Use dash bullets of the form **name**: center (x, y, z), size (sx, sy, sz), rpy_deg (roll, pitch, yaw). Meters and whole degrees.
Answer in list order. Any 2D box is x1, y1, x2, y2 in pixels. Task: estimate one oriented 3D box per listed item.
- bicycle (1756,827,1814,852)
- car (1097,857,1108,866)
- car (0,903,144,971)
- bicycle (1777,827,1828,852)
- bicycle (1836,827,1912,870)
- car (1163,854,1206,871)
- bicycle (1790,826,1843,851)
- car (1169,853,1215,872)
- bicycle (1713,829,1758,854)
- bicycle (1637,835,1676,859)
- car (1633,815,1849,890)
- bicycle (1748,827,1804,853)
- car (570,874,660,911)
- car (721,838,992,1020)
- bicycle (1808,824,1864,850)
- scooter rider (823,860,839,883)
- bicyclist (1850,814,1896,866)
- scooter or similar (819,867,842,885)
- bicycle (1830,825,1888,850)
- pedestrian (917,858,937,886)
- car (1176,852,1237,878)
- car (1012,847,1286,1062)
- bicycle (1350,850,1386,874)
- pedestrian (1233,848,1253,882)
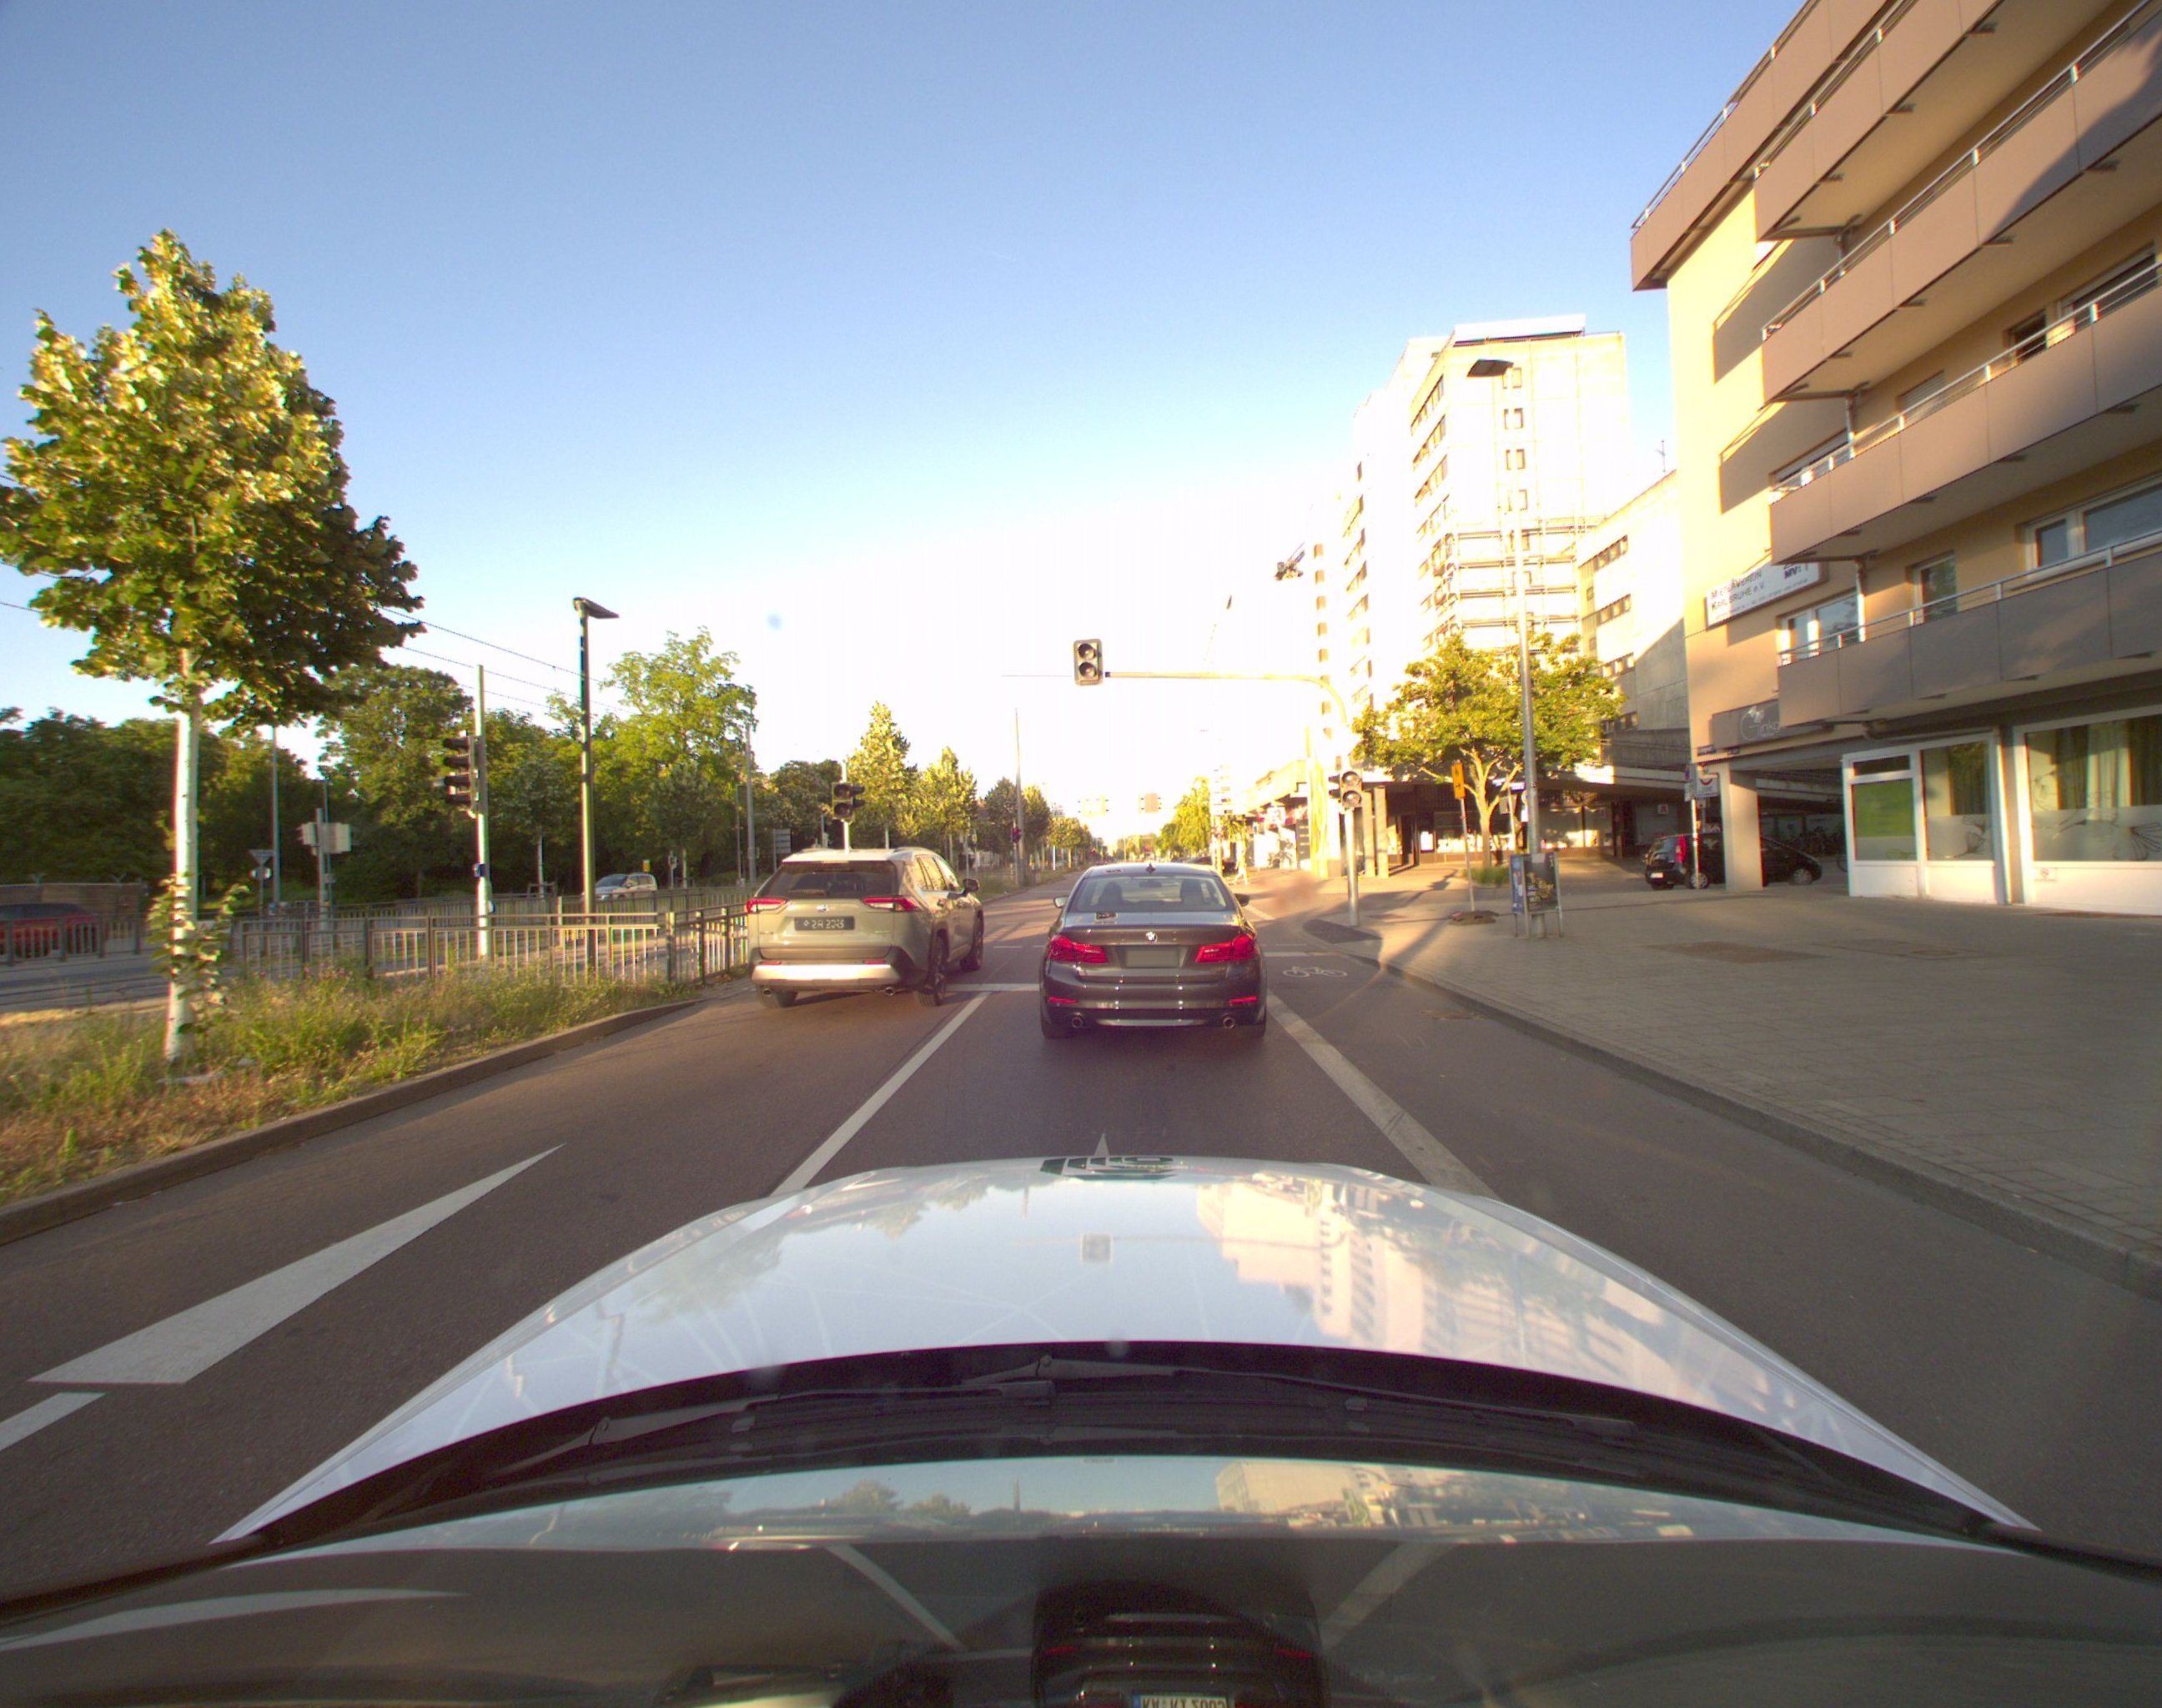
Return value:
- **bicycle**: center (32.291, -0.644, 37.378), size (0.583, 1.075, 1.963), rpy_deg (1, -1, -21)
- **car**: center (3.891, 1.324, 147.055), size (1.971, 1.433, 4.846), rpy_deg (-1, 1, 2)
- **car**: center (-28.136, 2.217, 21.220), size (1.984, 1.481, 4.528), rpy_deg (-1, 1, 5)
- **bicycle**: center (32.888, -0.659, 37.161), size (0.579, 1.075, 1.976), rpy_deg (1, -1, -1)
- **bicycle**: center (26.402, -0.179, 27.145), size (1.773, 1.310, 0.654), rpy_deg (-3, -1, 4)
- **car**: center (10.798, 0.860, 85.053), size (4.284, 1.658, 1.841), rpy_deg (-2, 1, -33)
- **bicycle**: center (33.448, -0.695, 37.064), size (0.579, 1.075, 1.976), rpy_deg (1, -1, -1)
- **car**: center (10.781, 0.800, 78.898), size (4.285, 1.658, 1.841), rpy_deg (-2, 1, -34)
- **bicycle**: center (29.740, -0.561, 37.032), size (0.578, 1.075, 1.980), rpy_deg (1, -1, 5)
- **bicycle**: center (26.972, -0.303, 38.205), size (0.578, 1.075, 1.980), rpy_deg (1, -1, 5)
- **car**: center (17.169, 0.004, 21.366), size (4.020, 1.585, 1.708), rpy_deg (-4, -4, 6)
- **bicycle**: center (31.813, -0.627, 37.321), size (0.582, 1.075, 1.966), rpy_deg (1, -1, -17)
- **car**: center (-21.686, 1.766, 38.074), size (1.792, 1.481, 3.786), rpy_deg (-2, 0, 3)
- **car**: center (-2.321, 0.665, 9.697), size (1.847, 1.658, 4.271), rpy_deg (-1, 1, 2)
- **bicycle**: center (34.037, -0.745, 36.739), size (0.579, 1.075, 1.974), rpy_deg (1, -1, -4)
- **scooter rider**: center (-16.957, 1.158, 55.166), size (0.827, 1.514, 0.645), rpy_deg (-2, -1, -37)
- **bicyclist**: center (26.401, -0.460, 27.149), size (0.814, 1.681, 0.654), rpy_deg (-3, -1, 4)
- **scooter or similar**: center (-16.938, 1.488, 55.131), size (1.340, 1.153, 0.508), rpy_deg (-2, -1, -37)
- **bicycle**: center (35.279, -0.723, 36.964), size (0.580, 1.075, 1.971), rpy_deg (1, -1, -9)
- **pedestrian**: center (-8.879, 1.036, 46.990), size (0.829, 1.586, 0.815), rpy_deg (-3, -1, 13)
- **car**: center (8.735, 0.744, 56.558), size (4.291, 1.658, 1.839), rpy_deg (-2, 1, -40)
- **car**: center (0.588, 0.706, 8.088), size (1.924, 1.481, 4.526), rpy_deg (-1, 1, 3)
- **bicycle**: center (14.473, 0.403, 41.124), size (0.690, 1.149, 2.012), rpy_deg (1, -1, -16)
- **pedestrian**: center (8.246, 0.563, 41.442), size (0.832, 1.712, 0.648), rpy_deg (-2, -1, 1)
